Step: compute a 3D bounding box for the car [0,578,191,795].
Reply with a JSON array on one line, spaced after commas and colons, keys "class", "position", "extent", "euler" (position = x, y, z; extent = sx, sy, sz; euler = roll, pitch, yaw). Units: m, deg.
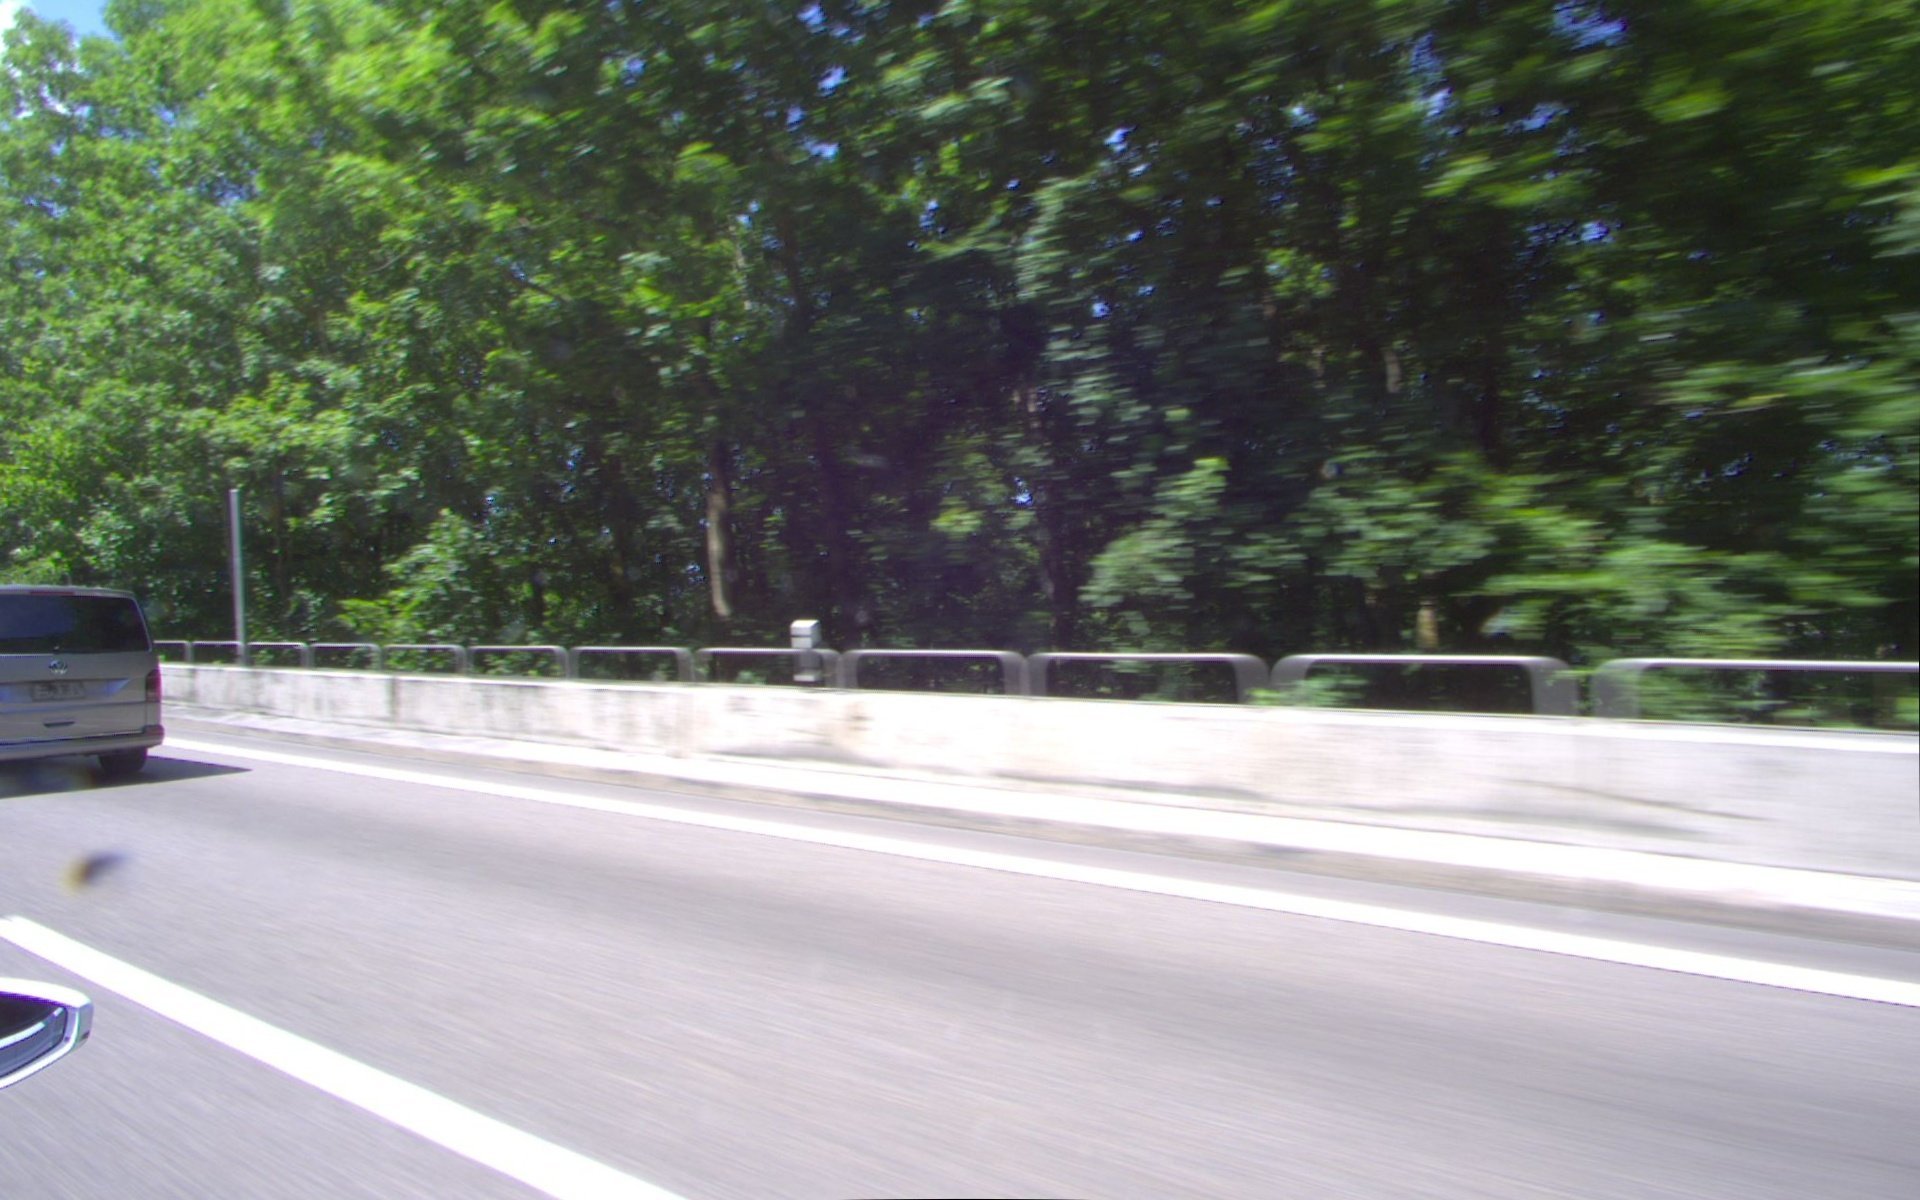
[{"class": "car", "position": [-10.392, 0.833, 10.649], "extent": [4.625, 1.955, 1.938], "euler": [-1, -2, 31]}]
